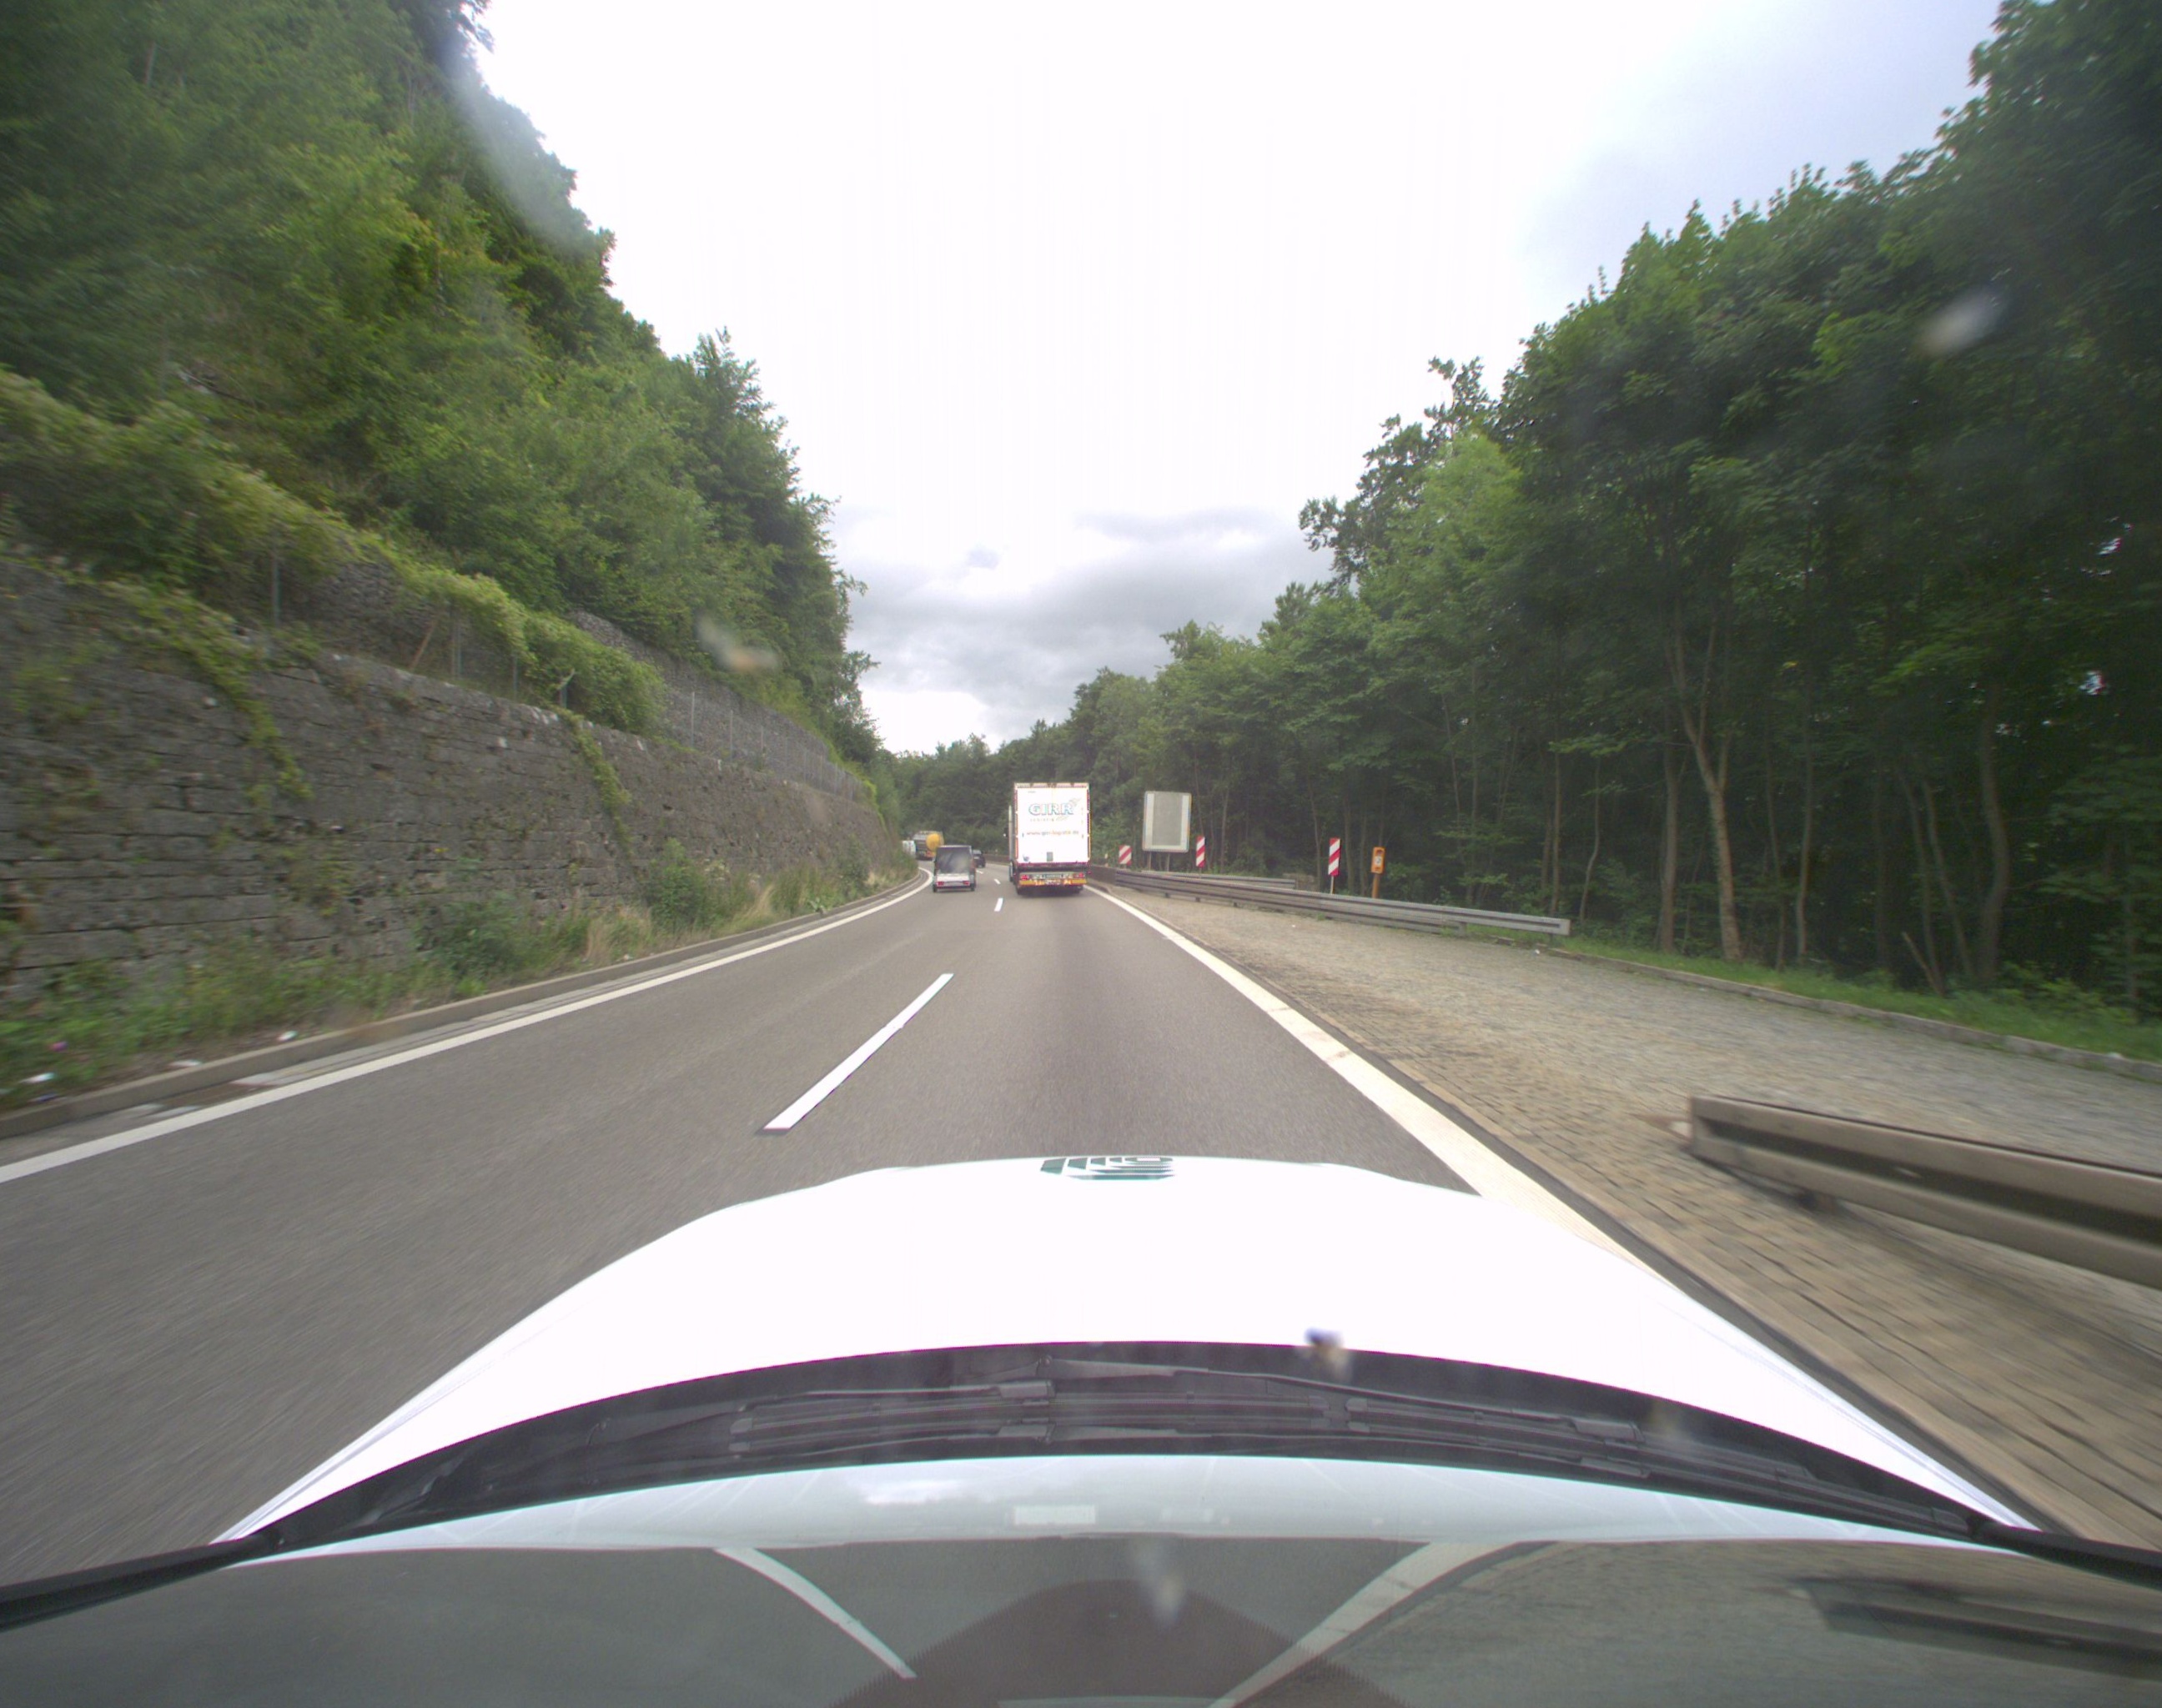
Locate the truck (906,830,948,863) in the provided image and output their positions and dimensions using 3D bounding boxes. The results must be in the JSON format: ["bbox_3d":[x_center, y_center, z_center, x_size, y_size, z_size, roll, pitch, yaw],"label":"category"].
[{"bbox_3d":[-20.562,-0.965,107.897,3.069,3.986,13.602,-1,0,-21],"label":"truck"}]

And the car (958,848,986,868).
[{"bbox_3d":[-9.743,0.360,72.688,1.997,1.662,3.980,1,0,-15],"label":"car"}]

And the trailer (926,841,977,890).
[{"bbox_3d":[-5.416,0.468,34.380,1.969,1.939,3.422,-1,0,-7],"label":"trailer"}]

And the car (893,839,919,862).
[{"bbox_3d":[-21.093,-0.418,97.978,1.996,2.672,6.888,2,0,-21],"label":"car"}]

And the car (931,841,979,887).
[{"bbox_3d":[-5.928,0.459,38.815,1.991,2.013,5.528,-1,0,-6],"label":"car"}]

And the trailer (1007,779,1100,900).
[{"bbox_3d":[-1.447,-0.645,33.455,3.053,3.985,12.116,2,2,-5],"label":"trailer"}]

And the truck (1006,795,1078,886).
[{"bbox_3d":[-2.043,-0.689,39.847,3.053,3.985,7.175,2,1,-5],"label":"truck"}]
